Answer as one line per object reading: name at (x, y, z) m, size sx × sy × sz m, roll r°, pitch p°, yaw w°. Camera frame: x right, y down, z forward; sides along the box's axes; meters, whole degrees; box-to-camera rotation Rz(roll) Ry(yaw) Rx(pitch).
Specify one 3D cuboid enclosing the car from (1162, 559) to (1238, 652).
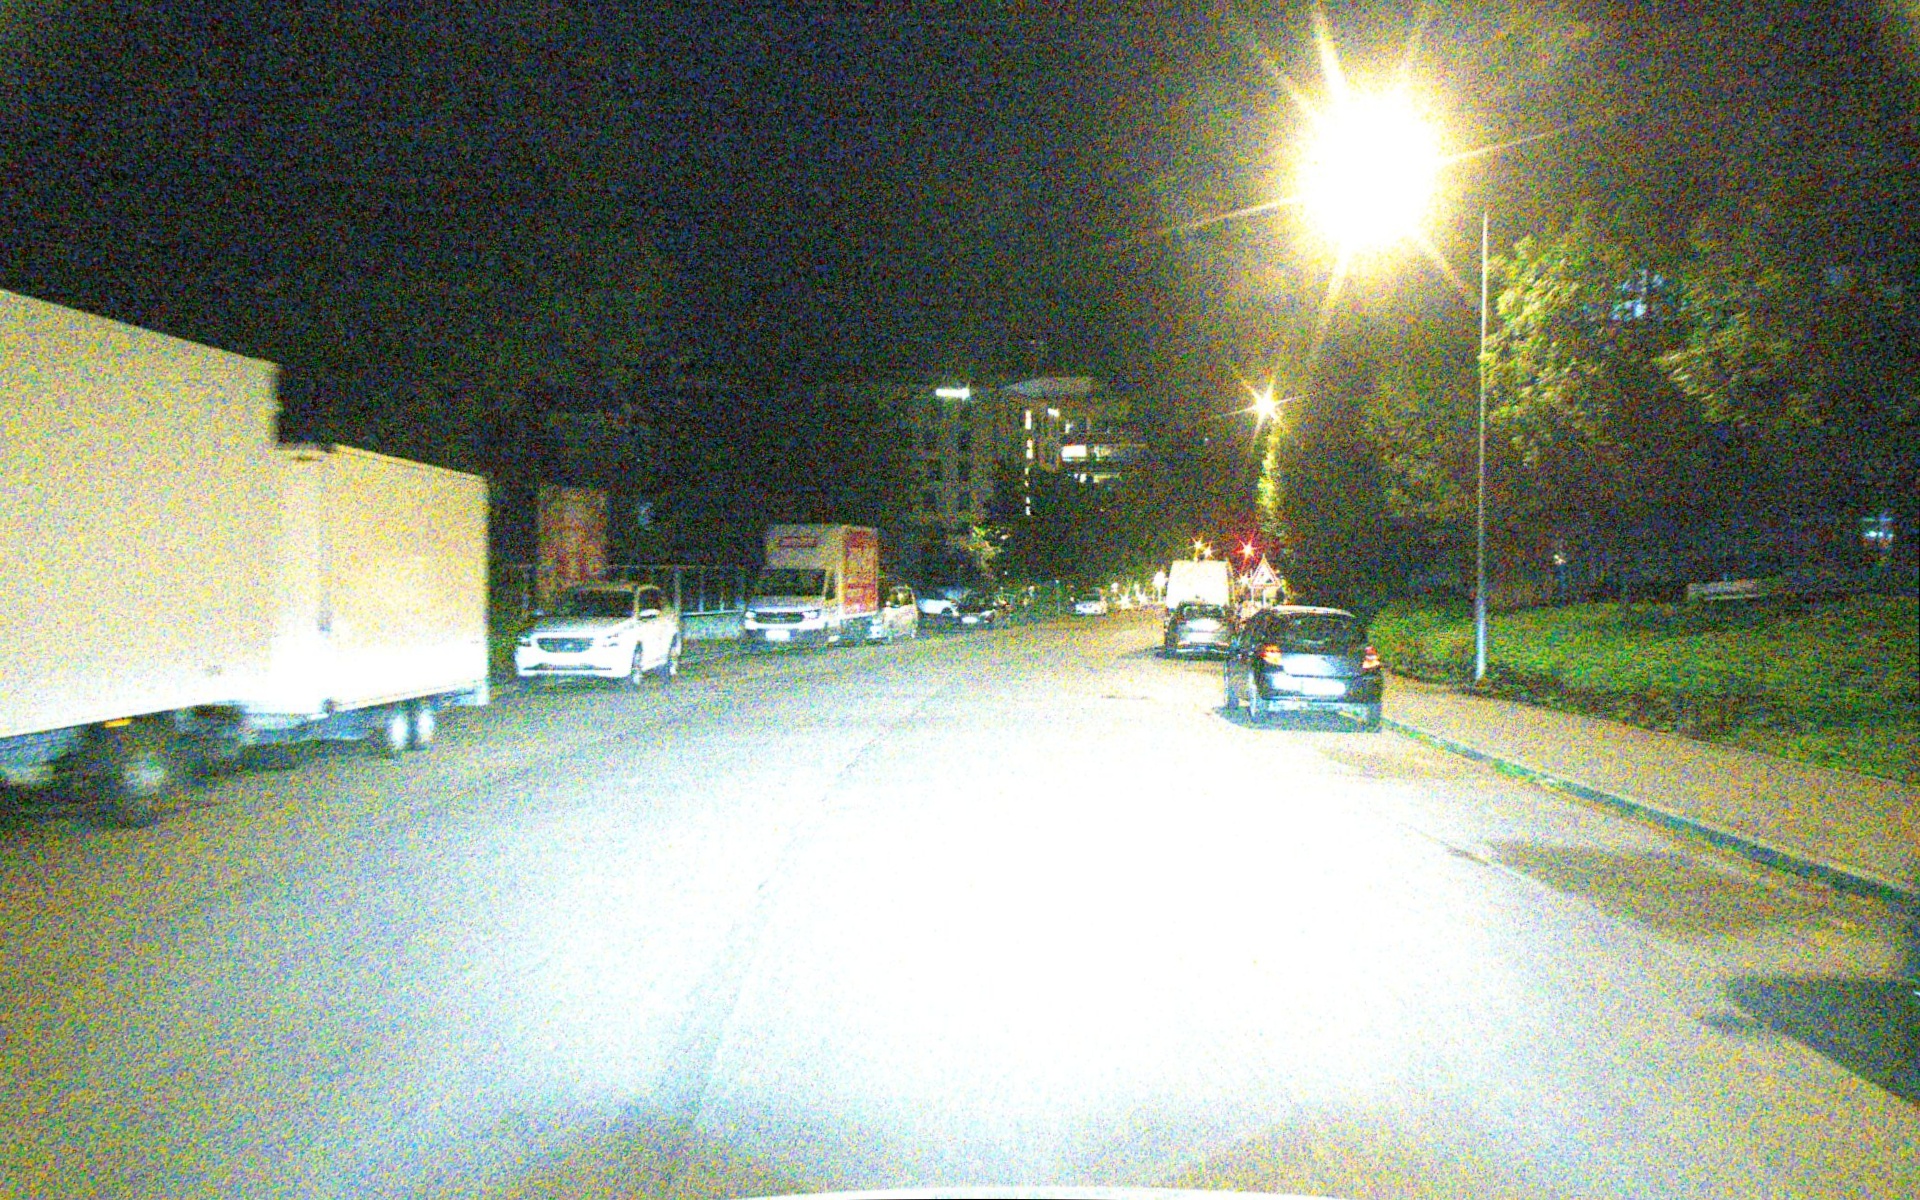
car at (7.260, 0.140, 49.611) m, size 1.977 × 2.570 × 6.057 m, roll 1°, pitch 0°, yaw 11°

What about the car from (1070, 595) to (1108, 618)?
car at (8.388, 0.378, 107.121) m, size 1.870 × 1.428 × 4.342 m, roll -1°, pitch 0°, yaw 12°

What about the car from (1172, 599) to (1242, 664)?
car at (6.282, 0.761, 42.459) m, size 1.674 × 1.534 × 4.644 m, roll 0°, pitch 0°, yaw 7°

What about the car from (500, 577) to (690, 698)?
car at (-5.815, 0.551, 26.976) m, size 1.952 × 1.803 × 4.693 m, roll 0°, pitch 0°, yaw 1°

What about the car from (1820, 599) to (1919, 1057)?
car at (4.047, 0.805, 4.294) m, size 1.575 × 1.538 × 3.825 m, roll 2°, pitch 0°, yaw 0°

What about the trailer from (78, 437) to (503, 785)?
trailer at (-6.117, 0.077, 15.853) m, size 2.159 × 2.844 × 4.616 m, roll 0°, pitch 0°, yaw 0°

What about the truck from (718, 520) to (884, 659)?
truck at (-4.012, -0.271, 43.480) m, size 2.489 × 3.338 × 7.319 m, roll 0°, pitch 0°, yaw 10°

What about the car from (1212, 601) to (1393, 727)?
car at (4.614, 0.804, 22.791) m, size 1.675 × 1.534 × 4.000 m, roll 1°, pitch 0°, yaw 0°

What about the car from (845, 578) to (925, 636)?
car at (-3.171, 0.289, 71.093) m, size 1.951 × 2.362 × 4.970 m, roll -2°, pitch 0°, yaw 15°

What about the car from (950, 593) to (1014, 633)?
car at (0.943, 0.550, 67.929) m, size 1.718 × 1.553 × 4.325 m, roll 1°, pitch -1°, yaw 13°

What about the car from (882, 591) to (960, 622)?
car at (-2.081, 0.328, 88.780) m, size 3.901 × 1.598 × 1.819 m, roll -1°, pitch 0°, yaw 11°

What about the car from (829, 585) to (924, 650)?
car at (-2.459, 0.504, 49.931) m, size 1.790 × 1.848 × 4.842 m, roll -1°, pitch 0°, yaw 10°

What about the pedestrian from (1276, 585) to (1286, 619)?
pedestrian at (17.586, 0.110, 90.629) m, size 0.558 × 1.885 × 0.821 m, roll 0°, pitch 0°, yaw 12°

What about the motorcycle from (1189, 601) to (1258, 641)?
motorcycle at (8.572, 0.675, 53.826) m, size 2.147 × 1.204 × 0.763 m, roll 2°, pitch 0°, yaw 43°

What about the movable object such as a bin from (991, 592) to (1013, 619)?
movable object such as a bin at (2.424, 0.286, 94.556) m, size 1.139 × 1.522 × 1.066 m, roll 0°, pitch 0°, yaw 9°

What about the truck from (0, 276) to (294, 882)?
truck at (-6.387, -0.113, 9.100) m, size 2.324 × 3.300 × 7.234 m, roll 0°, pitch 0°, yaw 2°
